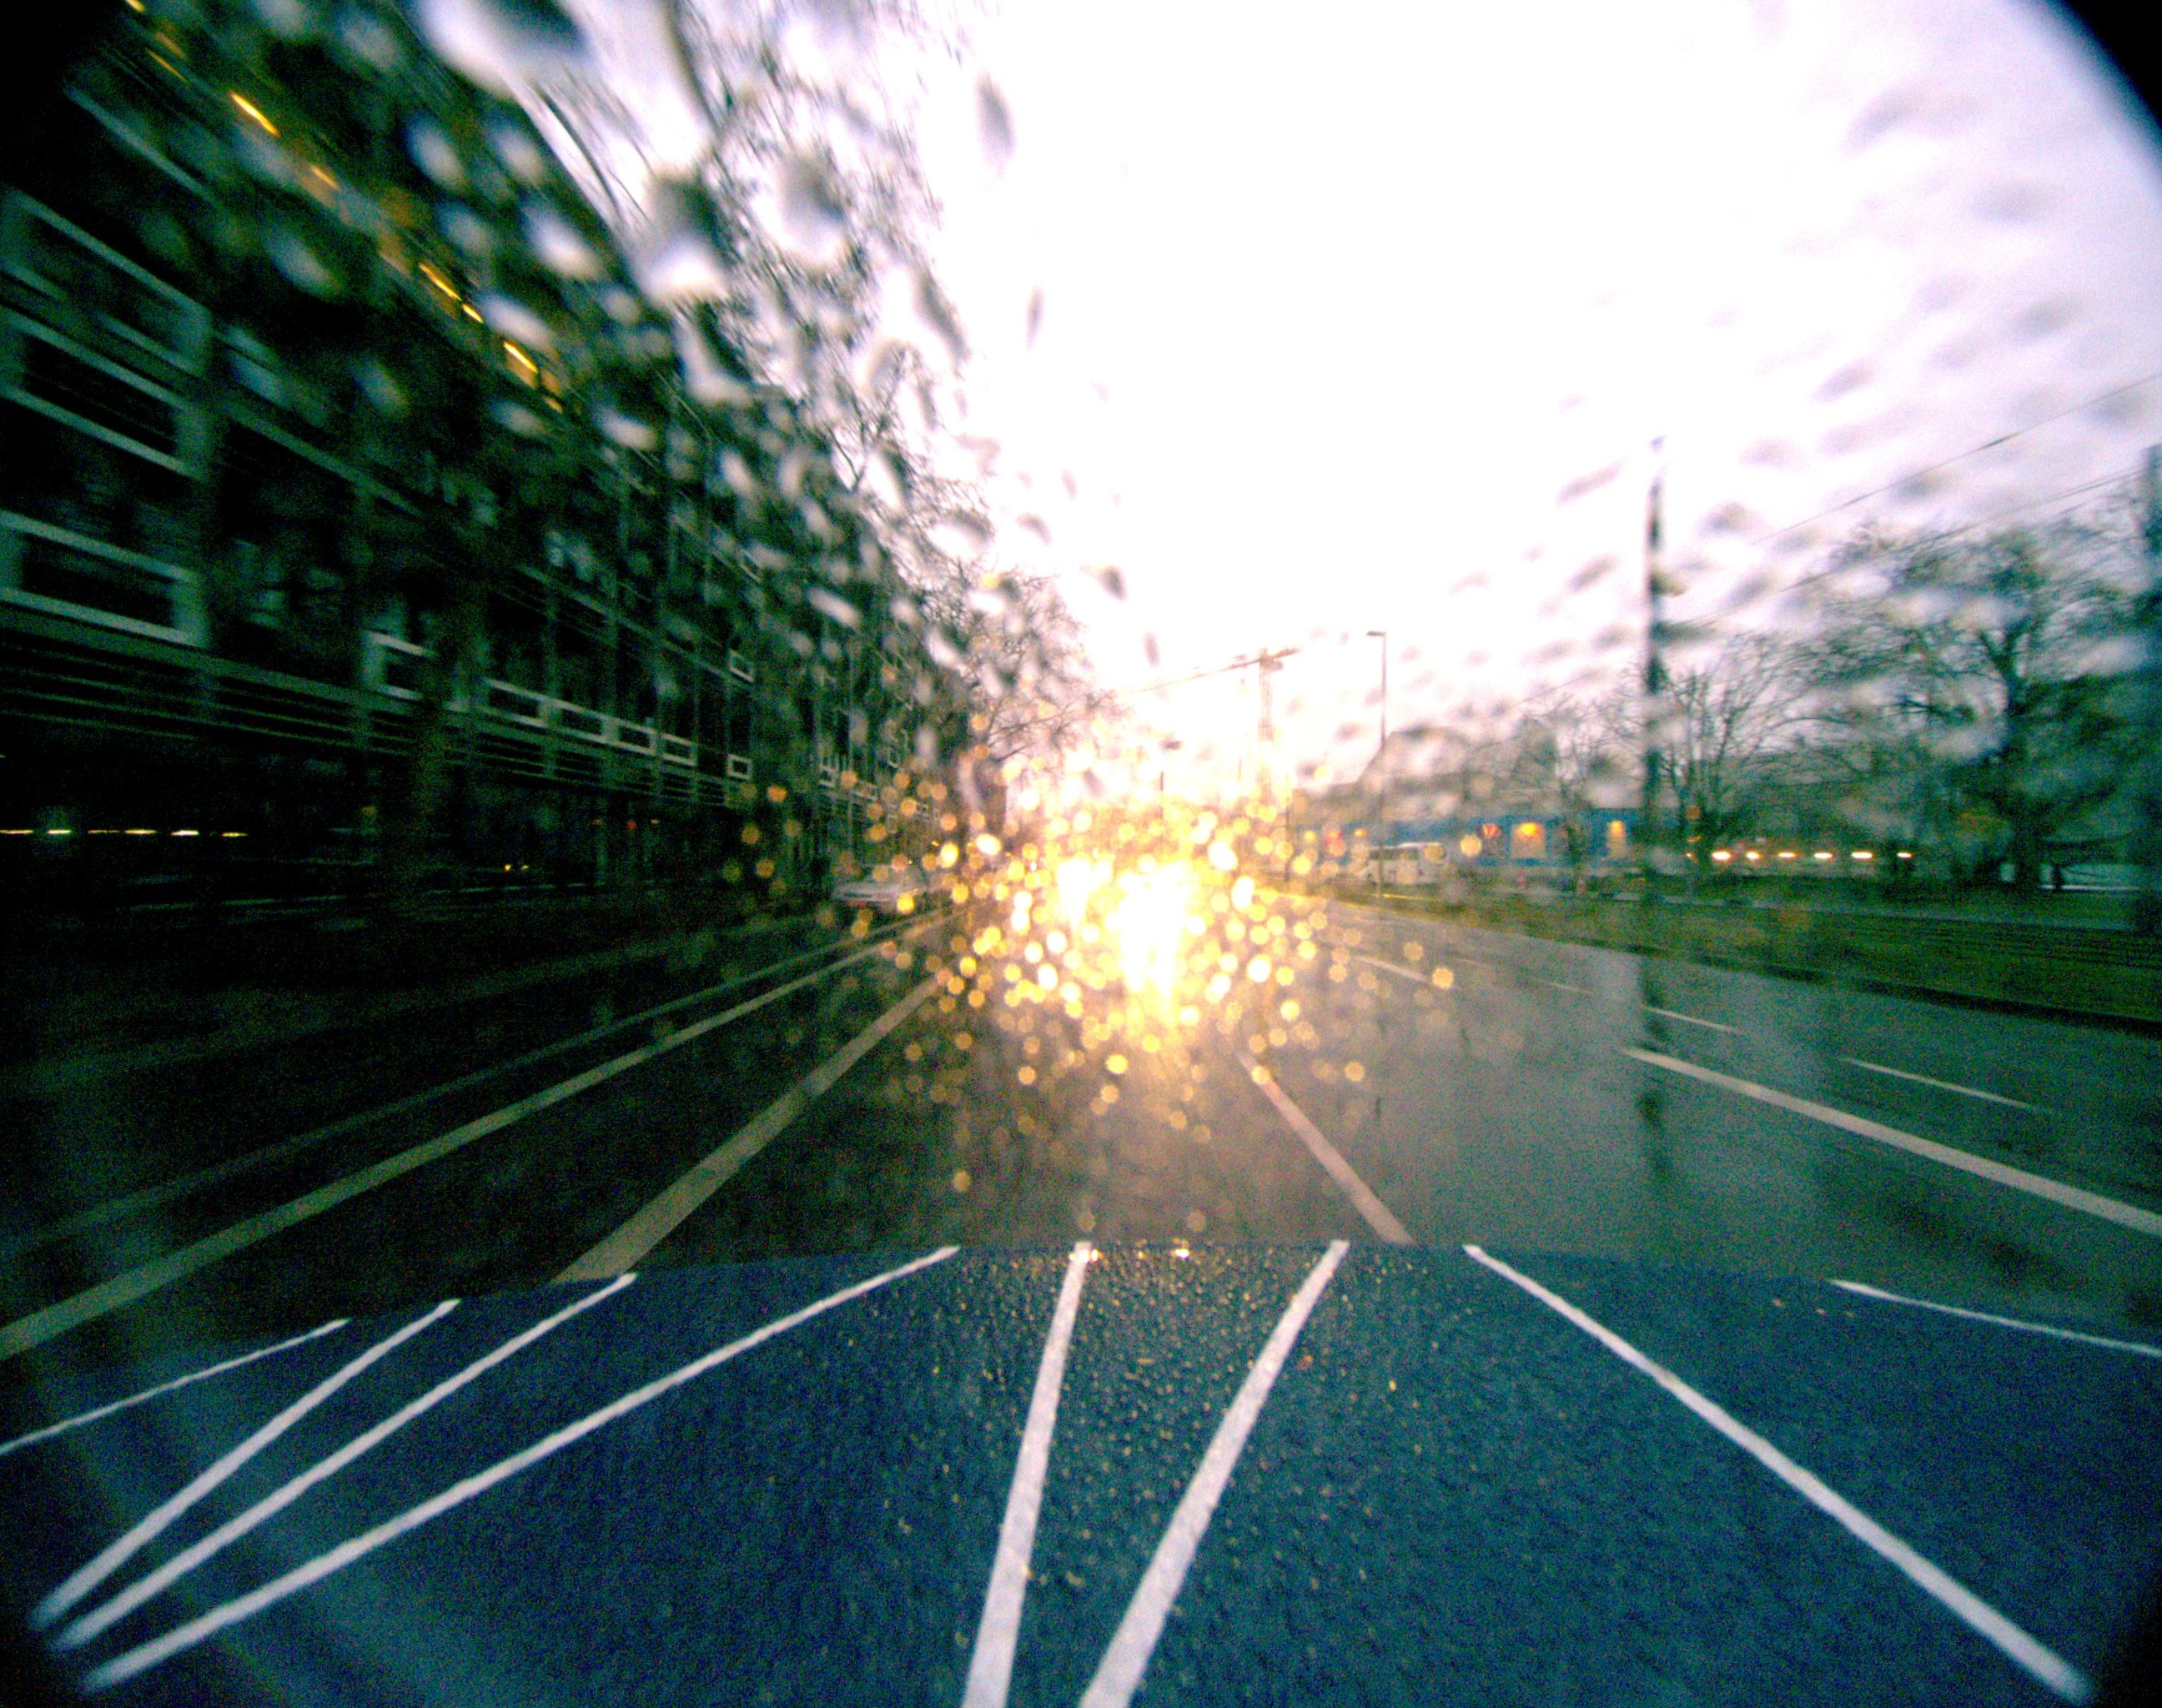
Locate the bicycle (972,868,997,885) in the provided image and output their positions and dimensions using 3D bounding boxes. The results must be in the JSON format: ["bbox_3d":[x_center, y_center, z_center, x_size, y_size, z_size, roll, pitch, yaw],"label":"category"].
[{"bbox_3d":[-6.027,1.385,47.285,1.523,1.030,0.469,0,1,-6],"label":"bicycle"}]

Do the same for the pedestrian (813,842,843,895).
[{"bbox_3d":[-9.811,0.557,29.501,0.791,2.002,1.024,1,0,1],"label":"pedestrian"}]

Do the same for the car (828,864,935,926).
[{"bbox_3d":[-5.391,1.060,21.025,1.607,1.423,3.931,4,0,4],"label":"car"}]

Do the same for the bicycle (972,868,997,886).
[{"bbox_3d":[-5.831,1.380,45.971,1.523,1.030,0.469,0,1,-6],"label":"bicycle"}]

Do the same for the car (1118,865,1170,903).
[{"bbox_3d":[2.632,1.250,32.554,1.778,1.466,4.129,1,0,-1],"label":"car"}]

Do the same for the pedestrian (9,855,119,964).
[{"bbox_3d":[-13.401,0.712,10.037,0.717,1.381,0.562,1,0,-35],"label":"pedestrian"}]

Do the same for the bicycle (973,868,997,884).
[{"bbox_3d":[-6.145,1.394,48.753,1.523,1.030,0.469,0,1,-6],"label":"bicycle"}]

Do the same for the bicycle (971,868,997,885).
[{"bbox_3d":[-5.956,1.386,46.635,1.523,1.030,0.469,0,1,-6],"label":"bicycle"}]

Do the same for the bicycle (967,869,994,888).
[{"bbox_3d":[-5.850,1.427,44.290,1.523,1.030,0.469,0,1,-6],"label":"bicycle"}]

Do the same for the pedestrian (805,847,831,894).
[{"bbox_3d":[-11.322,0.713,32.699,0.822,2.002,0.736,1,0,0],"label":"pedestrian"}]

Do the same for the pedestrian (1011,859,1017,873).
[{"bbox_3d":[-9.291,1.644,105.461,0.838,2.002,0.771,0,1,1],"label":"pedestrian"}]

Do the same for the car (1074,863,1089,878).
[{"bbox_3d":[0.142,2.328,104.657,1.858,2.001,4.002,1,-1,2],"label":"car"}]

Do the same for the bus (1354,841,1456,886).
[{"bbox_3d":[28.113,0.779,66.888,2.815,3.556,12.301,1,0,-4],"label":"bus"}]

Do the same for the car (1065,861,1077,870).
[{"bbox_3d":[-1.720,2.048,132.966,1.858,1.591,4.002,1,-1,2],"label":"car"}]

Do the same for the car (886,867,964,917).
[{"bbox_3d":[-5.300,1.255,26.336,1.764,1.539,4.020,1,0,1],"label":"car"}]

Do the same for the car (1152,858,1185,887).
[{"bbox_3d":[5.611,1.137,49.085,1.707,1.732,4.613,1,0,1],"label":"car"}]
